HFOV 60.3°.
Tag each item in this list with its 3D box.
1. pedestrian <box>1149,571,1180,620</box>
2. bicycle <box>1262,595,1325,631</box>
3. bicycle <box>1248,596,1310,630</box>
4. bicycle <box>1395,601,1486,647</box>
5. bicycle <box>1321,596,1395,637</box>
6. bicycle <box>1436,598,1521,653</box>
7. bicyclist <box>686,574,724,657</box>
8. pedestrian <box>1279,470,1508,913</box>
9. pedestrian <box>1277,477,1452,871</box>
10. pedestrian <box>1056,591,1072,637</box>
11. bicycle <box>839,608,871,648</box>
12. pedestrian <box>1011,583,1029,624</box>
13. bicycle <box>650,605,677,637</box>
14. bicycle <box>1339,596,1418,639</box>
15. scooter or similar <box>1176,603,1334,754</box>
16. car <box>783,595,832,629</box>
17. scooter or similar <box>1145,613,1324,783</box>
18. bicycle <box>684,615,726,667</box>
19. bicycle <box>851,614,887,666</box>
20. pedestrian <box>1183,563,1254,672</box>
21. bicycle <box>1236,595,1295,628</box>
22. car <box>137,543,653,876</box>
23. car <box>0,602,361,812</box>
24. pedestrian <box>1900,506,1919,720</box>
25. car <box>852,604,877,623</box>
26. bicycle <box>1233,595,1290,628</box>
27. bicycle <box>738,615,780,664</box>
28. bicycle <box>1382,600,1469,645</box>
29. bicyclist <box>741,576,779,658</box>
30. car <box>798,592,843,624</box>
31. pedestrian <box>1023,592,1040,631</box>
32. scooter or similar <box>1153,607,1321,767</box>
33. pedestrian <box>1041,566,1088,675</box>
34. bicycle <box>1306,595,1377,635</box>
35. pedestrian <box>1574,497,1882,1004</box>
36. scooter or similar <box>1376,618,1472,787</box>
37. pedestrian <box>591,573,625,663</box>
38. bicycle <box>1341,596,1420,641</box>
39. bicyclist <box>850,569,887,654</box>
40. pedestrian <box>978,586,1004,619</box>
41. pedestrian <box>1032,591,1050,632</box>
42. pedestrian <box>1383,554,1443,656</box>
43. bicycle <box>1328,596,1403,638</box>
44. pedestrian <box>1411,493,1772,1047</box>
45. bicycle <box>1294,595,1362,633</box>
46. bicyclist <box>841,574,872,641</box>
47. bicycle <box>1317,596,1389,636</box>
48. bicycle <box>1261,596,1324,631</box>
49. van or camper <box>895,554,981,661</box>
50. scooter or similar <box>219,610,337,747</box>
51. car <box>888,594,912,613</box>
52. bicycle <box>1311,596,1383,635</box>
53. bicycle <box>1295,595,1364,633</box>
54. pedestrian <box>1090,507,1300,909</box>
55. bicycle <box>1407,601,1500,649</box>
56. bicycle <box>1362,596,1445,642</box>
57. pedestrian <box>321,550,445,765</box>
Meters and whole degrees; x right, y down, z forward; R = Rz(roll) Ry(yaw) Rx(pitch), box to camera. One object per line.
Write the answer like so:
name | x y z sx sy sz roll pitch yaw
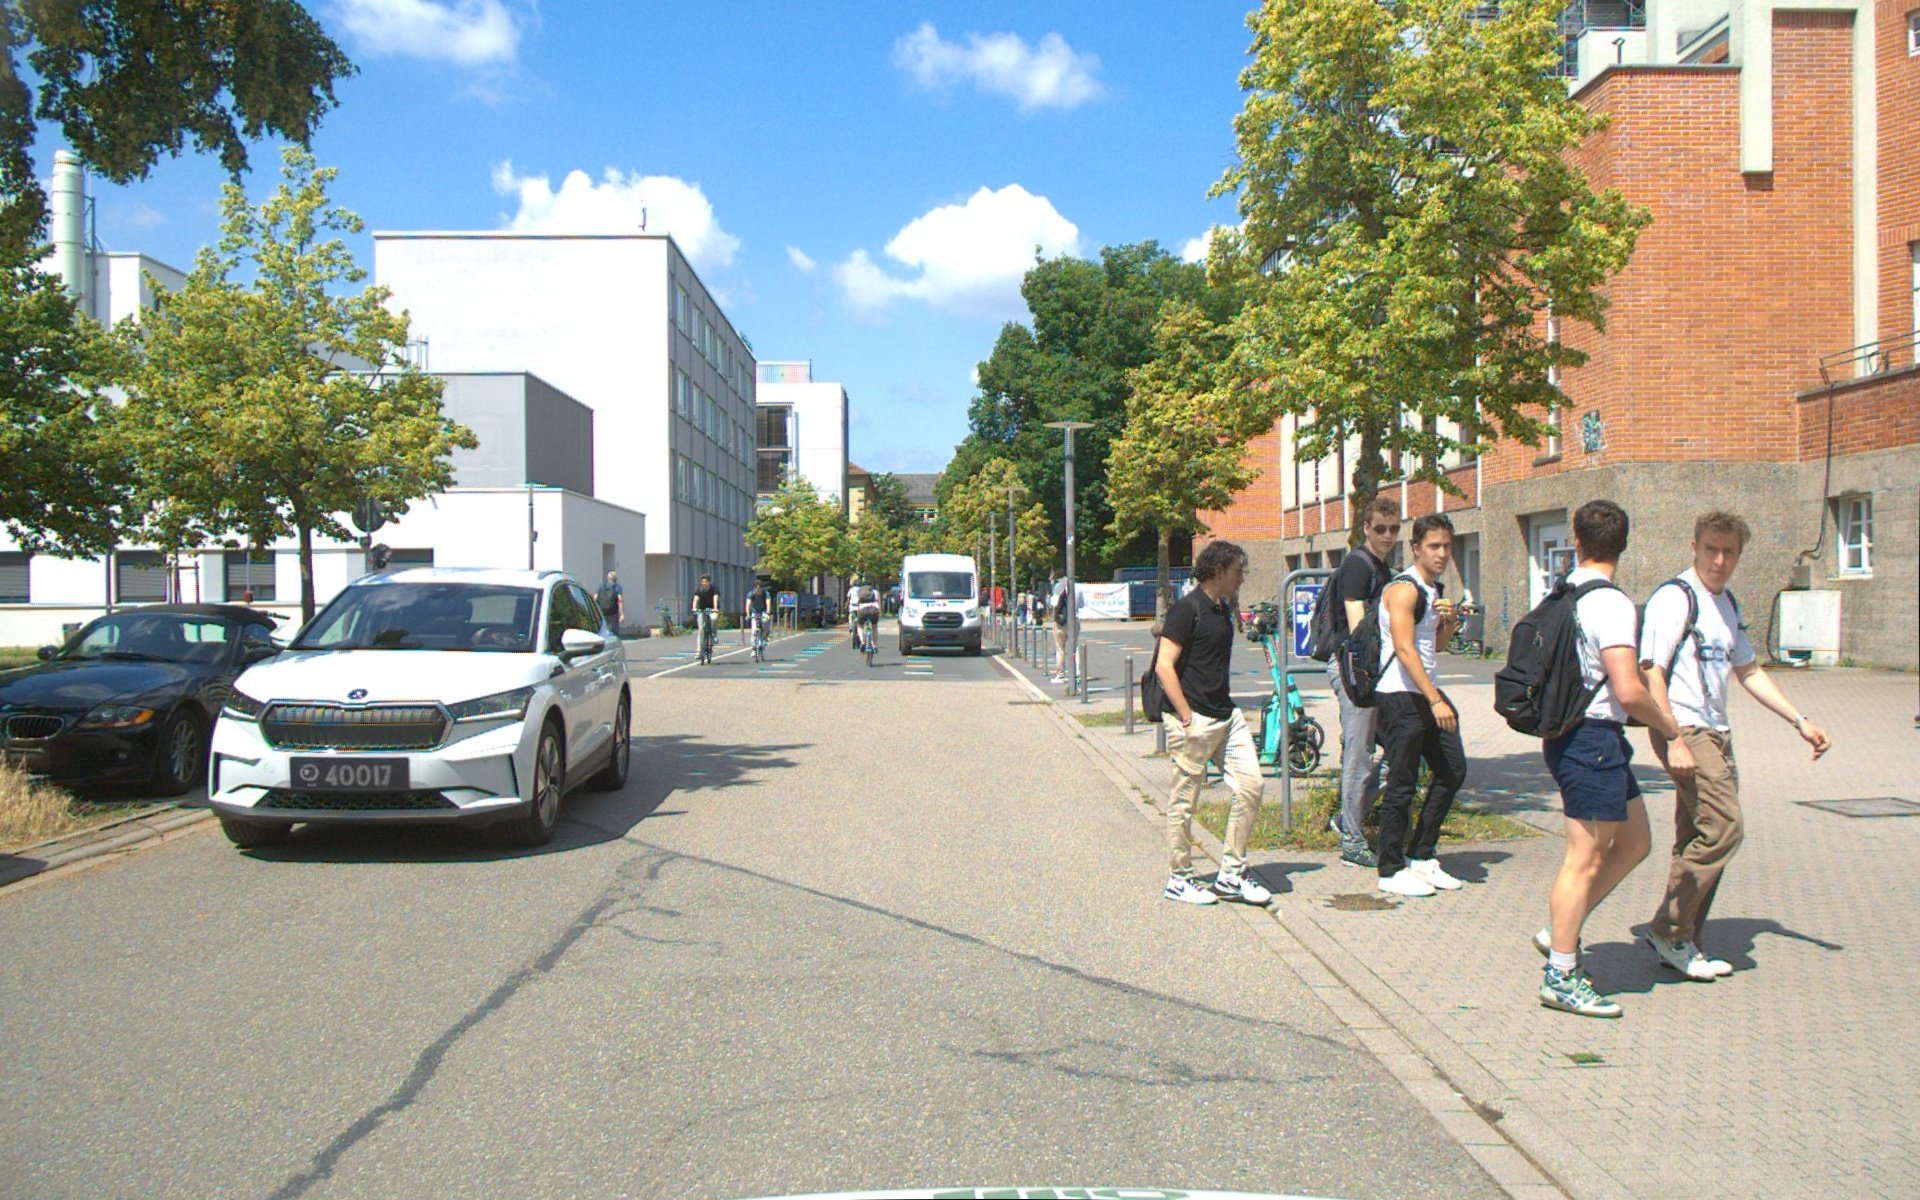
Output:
pedestrian | 7.977 -0.188 64.386 0.835 1.892 1.115 -1 0 27
bicycle | 10.089 0.399 50.055 1.773 1.002 0.560 -2 0 -2
bicycle | 9.948 0.399 51.585 1.773 1.002 0.560 -2 0 -2
bicycle | 10.385 0.514 35.791 1.773 0.928 0.560 -2 0 -2
bicycle | 10.523 0.425 43.754 1.773 1.002 0.560 -2 0 -2
bicycle | 10.380 0.502 33.152 1.504 1.051 0.560 -2 0 -2
bicyclist | -5.159 0.303 33.456 0.630 1.629 0.908 -2 0 -4
pedestrian | 2.093 0.420 8.041 0.610 2.015 0.819 -1 -2 -33
pedestrian | 2.192 0.383 8.923 0.809 2.015 0.692 -2 0 19
pedestrian | 4.261 0.566 67.829 0.564 1.892 0.569 -1 0 -4
bicycle | -2.915 0.765 45.914 0.792 1.019 2.123 1 0 -2
pedestrian | 2.775 0.153 76.897 0.774 1.892 1.243 -1 0 0
bicycle | -9.967 0.703 55.639 0.512 1.002 1.633 -2 0 3
bicycle | 10.355 0.430 40.957 1.773 1.002 0.560 -2 0 -2
scooter or similar | 2.640 0.687 14.813 1.237 1.287 0.638 -1 0 31
car | -7.170 0.543 78.024 1.758 1.557 4.001 -1 0 3
scooter or similar | 2.191 0.760 13.214 1.237 1.287 0.649 -1 0 31
bicycle | -5.148 0.816 33.472 0.663 0.981 2.002 0 0 -3
bicycle | -1.880 0.804 33.846 0.693 1.010 1.909 -1 -1 -4
pedestrian | 4.317 0.279 27.686 0.837 1.763 1.158 -1 0 -8
bicycle | 9.959 0.381 53.923 1.773 1.002 0.560 -2 0 -2
car | -3.306 0.597 10.734 1.879 1.647 4.518 2 -1 -2
car | -6.139 0.709 12.724 1.611 1.323 3.927 -1 0 0
pedestrian | 8.990 0.113 14.620 0.688 1.925 0.992 -1 0 -9
car | -8.314 1.135 144.089 1.758 1.557 4.001 -1 0 3
bicycle | 10.006 0.371 54.888 1.773 1.002 0.560 -2 0 -2
bicycle | -4.288 0.834 35.347 0.663 0.981 2.002 1 0 -1
bicycle | 10.478 0.506 37.235 1.773 0.928 0.560 -2 0 -2
bicyclist | -4.286 0.355 35.464 0.654 1.711 0.992 -2 0 -2
car | -7.191 0.405 85.438 1.758 1.557 4.001 -1 0 3
pedestrian | 3.455 0.557 80.154 0.774 1.892 1.026 -1 0 0
scooter or similar | 2.341 0.718 13.992 1.237 1.287 0.649 -1 0 31
pedestrian | 1.685 0.322 26.833 0.688 1.724 0.962 0 2 -1
bicycle | 10.504 0.406 45.578 1.773 1.002 0.560 -2 0 -2
pedestrian | 2.933 0.527 6.315 0.891 1.769 0.676 -2 0 37
scooter or similar | 3.478 0.743 12.469 0.635 1.180 1.266 -1 0 14
pedestrian | -7.196 0.370 33.804 0.655 1.816 0.981 0 -1 -14
bicycle | 10.245 0.441 40.318 1.773 1.002 0.560 -2 0 -2
bicyclist | -1.864 0.241 33.610 0.703 1.691 1.094 -1 -2 -3
pedestrian | 2.032 0.180 107.499 1.470 2.030 1.645 -4 1 -3
pedestrian | 3.750 0.524 76.720 0.774 1.892 1.026 -1 0 0
pedestrian | 8.665 0.089 31.672 0.774 1.892 1.116 -1 0 -1
bicycle | 10.572 0.433 43.153 1.773 1.002 0.560 -2 0 -2
pedestrian | 2.234 0.550 5.866 0.965 1.769 0.697 -3 0 40
bicycle | 10.573 0.390 47.531 1.773 1.002 0.560 -2 0 -2
bicyclist | -2.867 0.207 45.868 0.755 1.787 0.848 3 -1 -2
bicycle | 10.524 0.418 44.342 1.773 1.002 0.560 -2 0 -2
bicycle | 10.219 0.407 50.890 1.773 1.002 0.560 -2 0 -2
van or camper | -0.515 0.205 41.356 1.953 2.488 4.569 -1 -1 0
scooter or similar | -6.984 0.782 16.989 0.493 1.322 1.217 -2 1 10
car | -5.214 0.279 143.876 1.758 1.557 4.001 -1 0 3
bicycle | 10.524 0.416 44.983 1.773 1.002 0.560 -2 0 -2
bicycle | 10.452 0.398 46.813 1.773 1.002 0.560 -2 0 -2
pedestrian | 1.146 0.487 7.956 0.785 1.803 0.854 -2 0 21
bicycle | 10.421 0.520 34.972 1.773 0.928 0.560 -2 0 -2
bicycle | 10.456 0.451 38.998 1.773 1.002 0.560 -2 0 -2
pedestrian | -5.480 0.526 15.682 1.002 1.937 1.169 0 -1 -25
